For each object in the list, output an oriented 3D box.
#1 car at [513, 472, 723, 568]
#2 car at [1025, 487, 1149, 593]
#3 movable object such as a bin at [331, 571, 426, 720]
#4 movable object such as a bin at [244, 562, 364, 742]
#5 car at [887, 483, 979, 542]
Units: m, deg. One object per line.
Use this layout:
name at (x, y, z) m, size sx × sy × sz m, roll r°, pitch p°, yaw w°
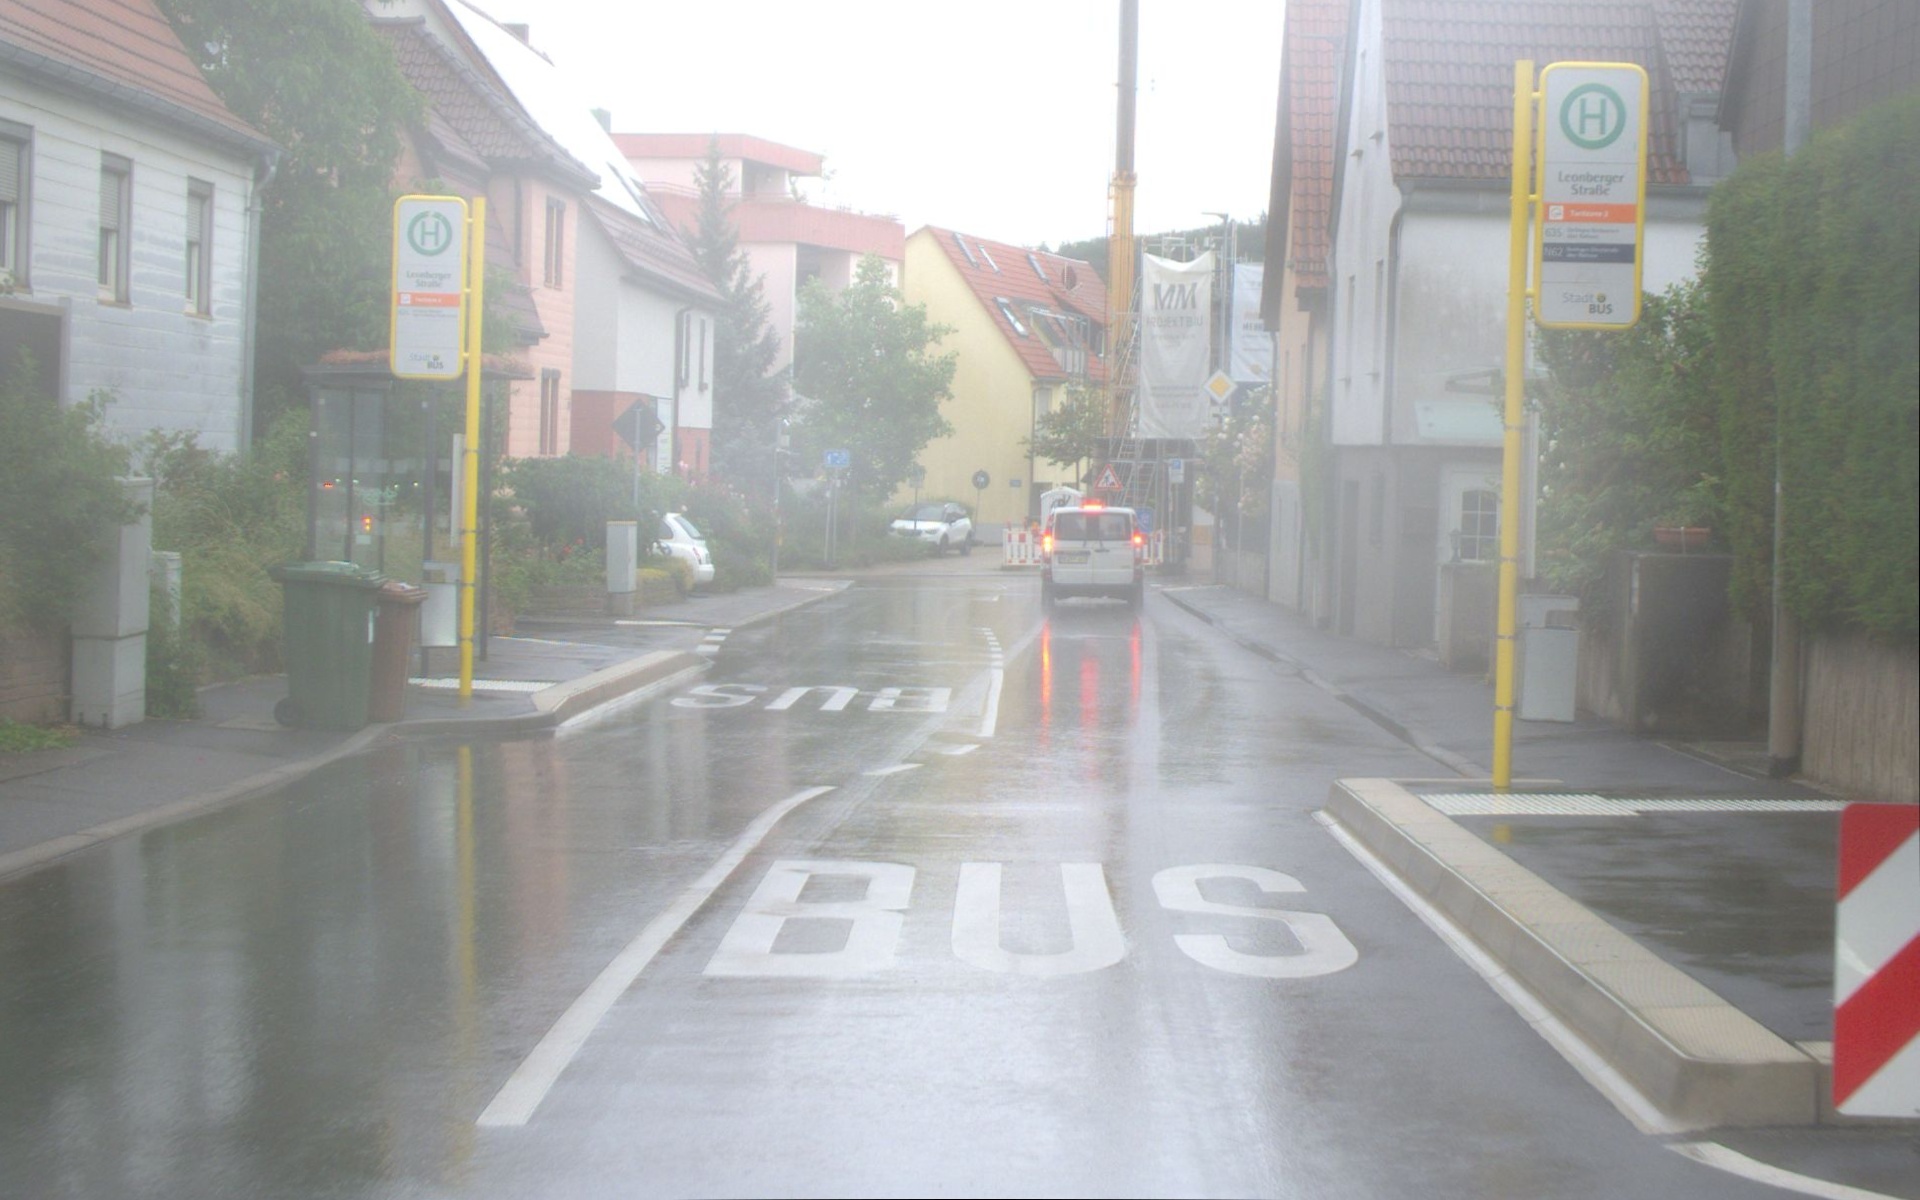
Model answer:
car at (-6.274, -1.468, 63.273) m, size 3.545 × 1.524 × 1.663 m, roll 4°, pitch 1°, yaw 3°
car at (2.324, -1.105, 63.498) m, size 2.181 × 1.863 × 4.000 m, roll 1°, pitch 1°, yaw 1°
movable object such as a bin at (-3.912, 0.302, 23.151) m, size 0.468 × 0.935 × 0.454 m, roll 5°, pitch 3°, yaw 4°
movable object such as a bin at (-4.154, 0.325, 21.799) m, size 0.553 × 1.078 × 0.527 m, roll 5°, pitch 2°, yaw 4°
car at (-0.792, -2.659, 103.784) m, size 1.601 × 1.672 × 3.935 m, roll 3°, pitch 3°, yaw 17°
